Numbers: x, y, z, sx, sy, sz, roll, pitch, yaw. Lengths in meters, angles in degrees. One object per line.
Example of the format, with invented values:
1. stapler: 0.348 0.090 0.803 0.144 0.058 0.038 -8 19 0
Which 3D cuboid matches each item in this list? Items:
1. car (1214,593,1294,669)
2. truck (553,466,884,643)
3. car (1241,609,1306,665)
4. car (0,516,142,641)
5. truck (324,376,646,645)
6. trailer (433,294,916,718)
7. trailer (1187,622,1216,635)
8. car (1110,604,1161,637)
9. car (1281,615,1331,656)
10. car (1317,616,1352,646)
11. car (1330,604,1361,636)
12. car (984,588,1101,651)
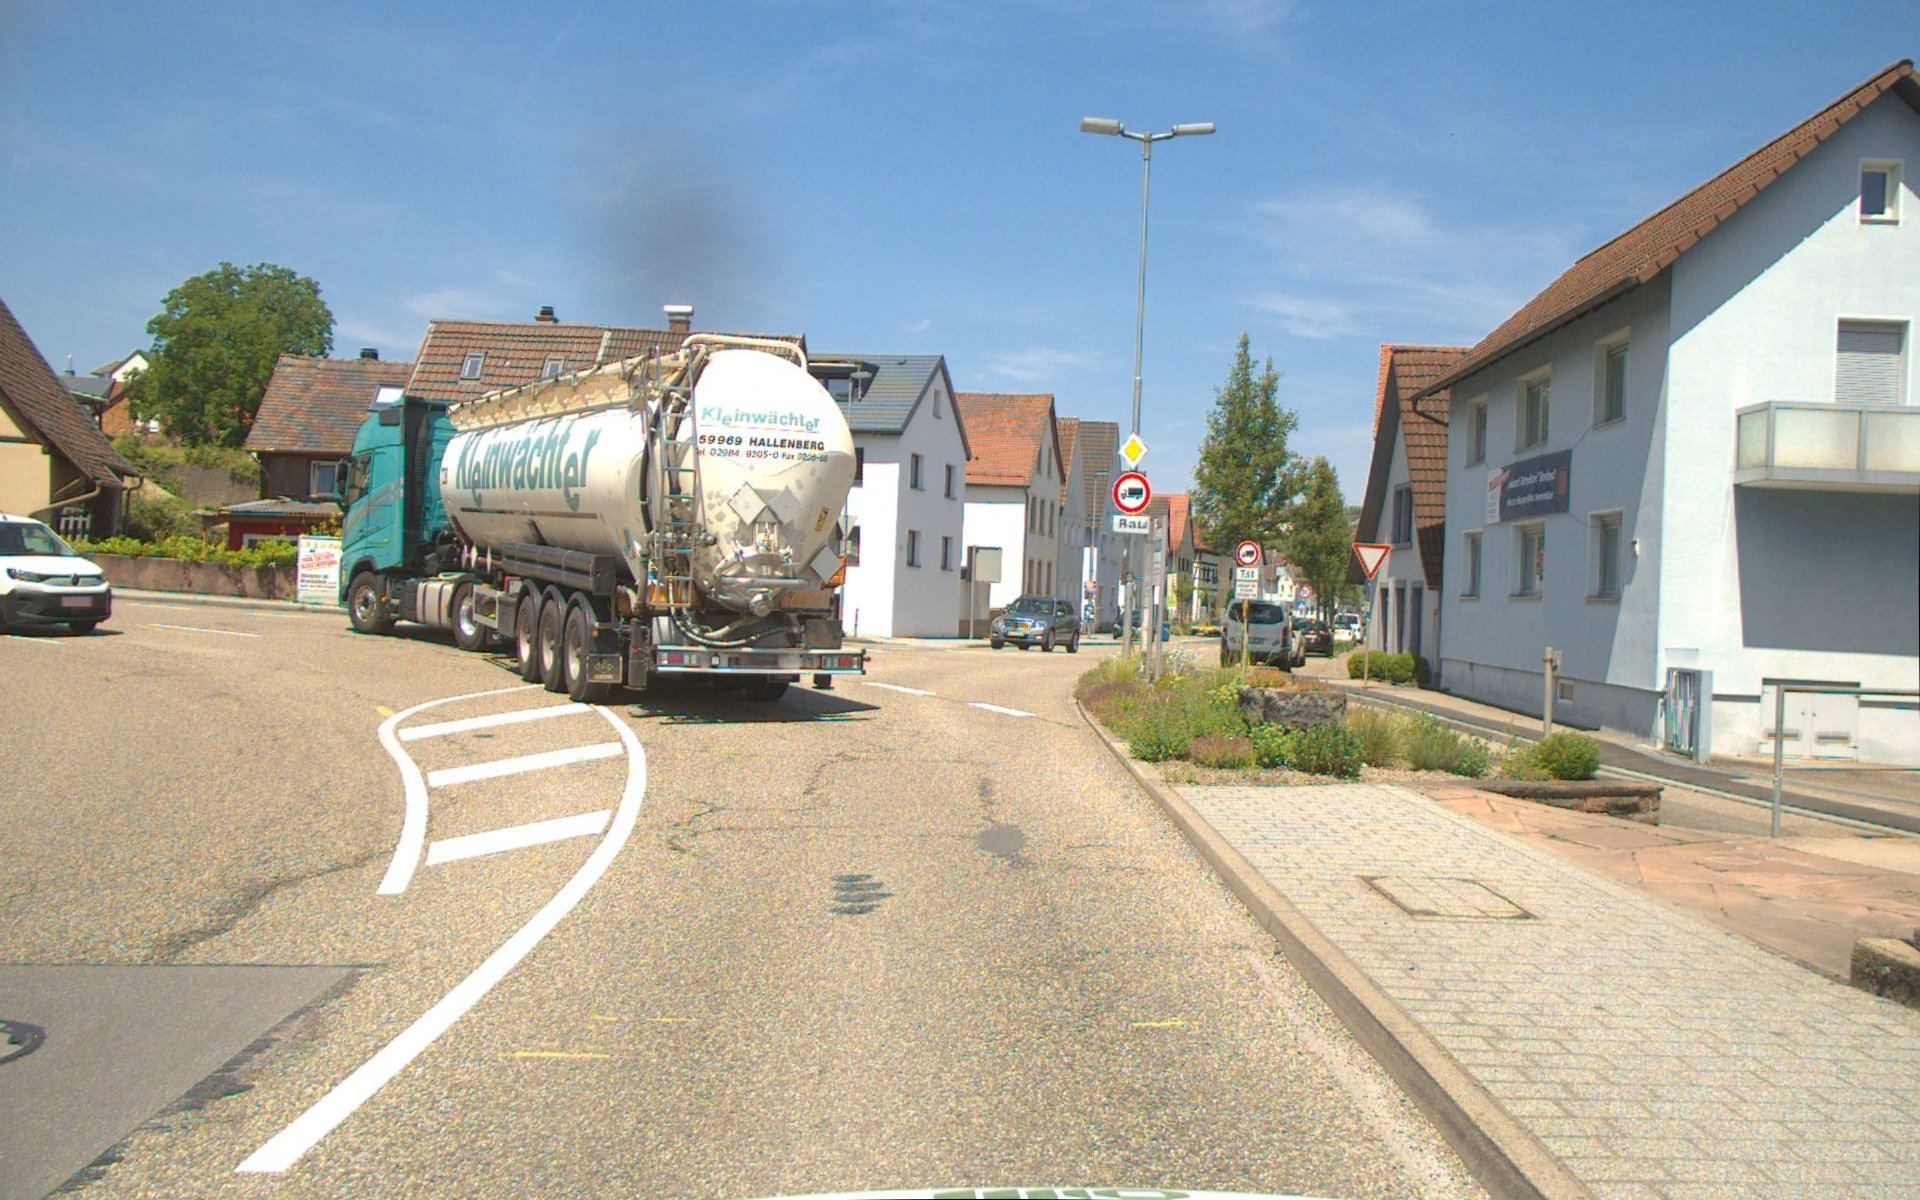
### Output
1. car: 8.369 0.916 46.842 1.951 1.945 4.327 3 -2 12
2. truck: -5.047 -0.853 36.093 2.616 3.236 7.434 2 -2 35
3. car: 10.312 1.189 54.147 1.779 1.663 4.210 2 0 14
4. car: -15.371 -0.433 26.143 4.416 1.816 1.879 3 1 22
5. truck: -8.200 -1.445 28.205 2.973 4.034 5.492 3 0 -43
6. trailer: -4.400 -1.019 21.697 2.917 4.016 11.521 3 0 -26
7. trailer: 16.993 2.001 116.623 1.909 0.791 2.722 4 0 6
8. car: 9.403 1.086 88.454 1.682 1.623 4.000 3 0 20
9. car: 15.066 1.500 71.830 1.951 1.612 4.003 3 0 13
10. car: 22.223 1.817 98.090 1.951 1.612 4.003 3 0 13
11. car: 25.451 1.309 109.311 1.951 2.026 4.003 1 0 13
12. car: 2.527 0.603 49.750 1.955 1.704 4.309 3 0 25
